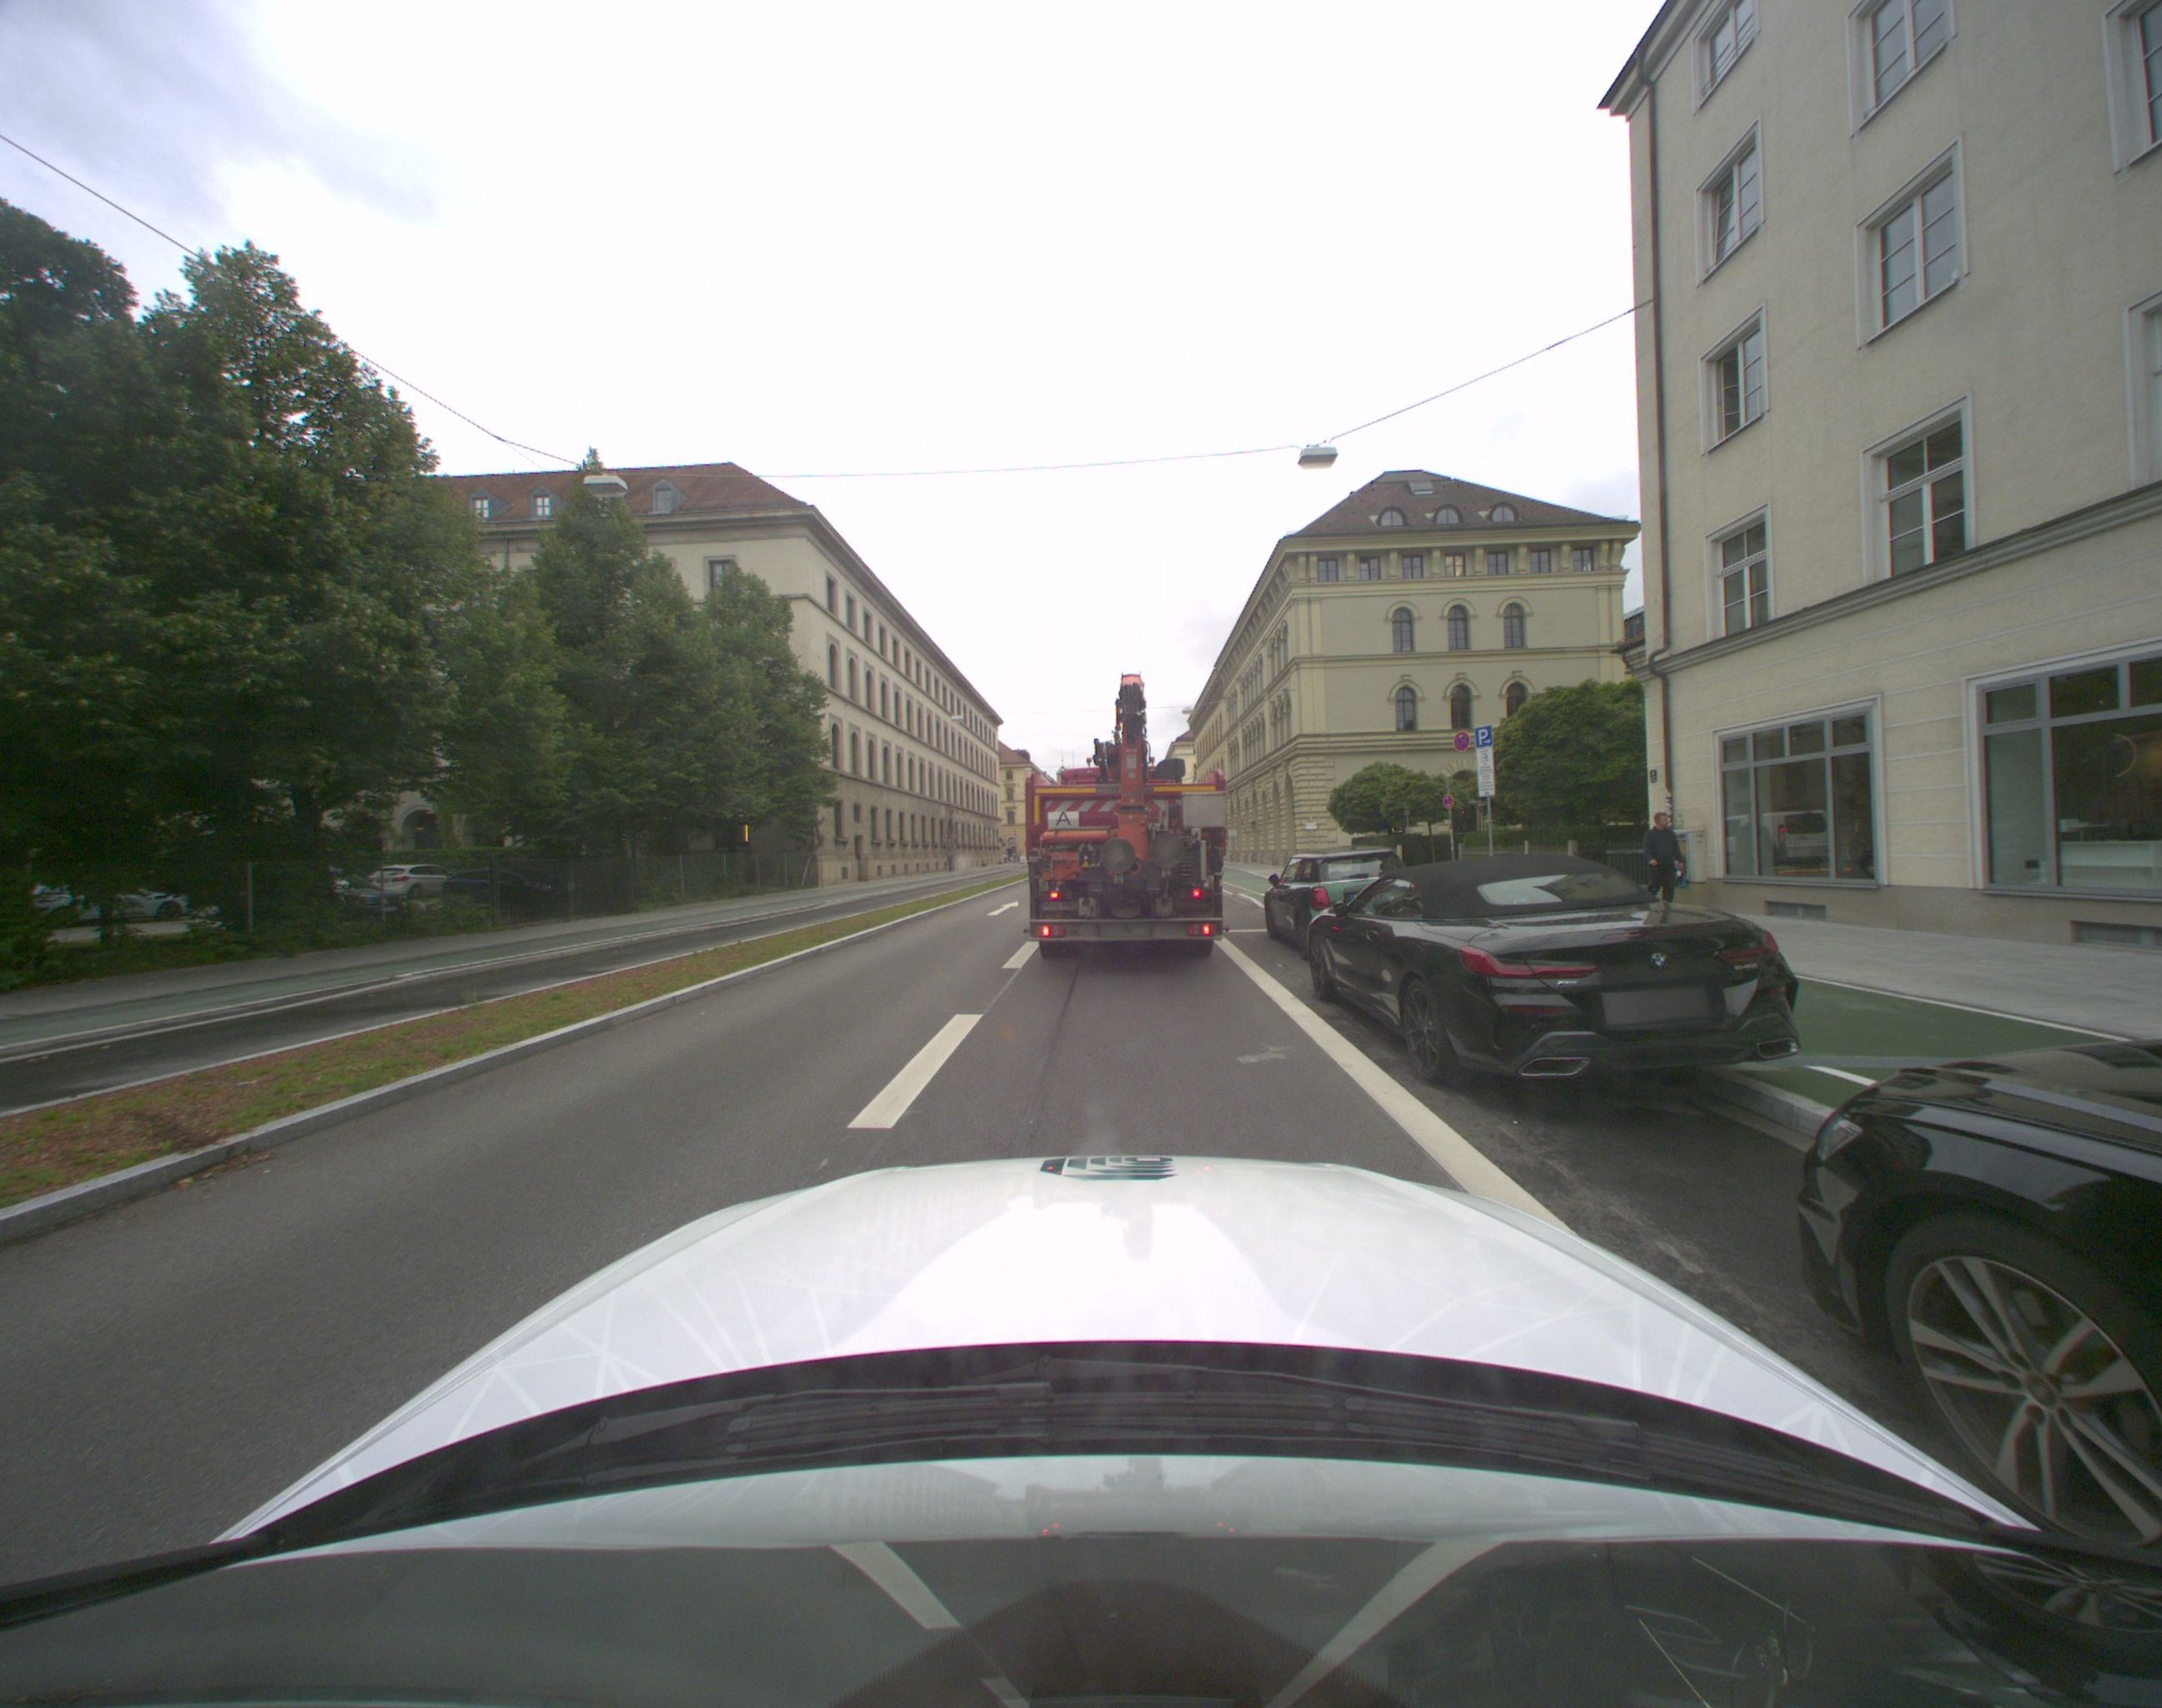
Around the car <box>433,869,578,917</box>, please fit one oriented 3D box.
[{"bbox_3d":[-20.914,1.388,29.711,3.914,1.545,1.836,-1,1,0],"label":"car"}]

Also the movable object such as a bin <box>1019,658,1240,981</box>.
[{"bbox_3d":[0.637,-0.414,12.208,2.414,3.611,5.854,-2,0,2],"label":"movable object such as a bin"}]

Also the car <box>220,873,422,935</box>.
[{"bbox_3d":[-21.382,1.380,23.032,3.914,1.545,1.836,-1,1,0],"label":"car"}]

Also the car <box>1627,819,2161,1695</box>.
[{"bbox_3d":[2.746,0.692,0.375,1.796,1.480,4.686,-3,0,0],"label":"car"}]

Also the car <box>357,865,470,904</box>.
[{"bbox_3d":[-30.615,1.365,37.515,1.823,1.545,3.941,-1,1,1],"label":"car"}]

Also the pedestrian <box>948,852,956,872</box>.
[{"bbox_3d":[-12.128,0.722,76.748,0.586,1.831,0.499,-1,0,1],"label":"pedestrian"}]

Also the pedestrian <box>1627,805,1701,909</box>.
[{"bbox_3d":[10.734,0.045,15.019,0.787,1.836,0.778,-2,0,4],"label":"pedestrian"}]

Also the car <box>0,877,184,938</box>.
[{"bbox_3d":[-31.255,1.601,25.400,1.823,1.545,4.178,-1,1,1],"label":"car"}]

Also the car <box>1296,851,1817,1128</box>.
[{"bbox_3d":[3.024,0.696,6.406,1.673,1.386,4.429,-1,0,3],"label":"car"}]

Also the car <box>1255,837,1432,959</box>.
[{"bbox_3d":[3.713,0.546,12.103,1.604,1.495,3.427,-2,0,2],"label":"car"}]

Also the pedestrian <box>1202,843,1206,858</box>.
[{"bbox_3d":[13.002,-0.375,86.254,0.336,1.672,0.440,-2,0,4],"label":"pedestrian"}]

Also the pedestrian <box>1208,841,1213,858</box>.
[{"bbox_3d":[13.710,-0.483,86.198,0.444,1.836,0.556,-2,0,4],"label":"pedestrian"}]
